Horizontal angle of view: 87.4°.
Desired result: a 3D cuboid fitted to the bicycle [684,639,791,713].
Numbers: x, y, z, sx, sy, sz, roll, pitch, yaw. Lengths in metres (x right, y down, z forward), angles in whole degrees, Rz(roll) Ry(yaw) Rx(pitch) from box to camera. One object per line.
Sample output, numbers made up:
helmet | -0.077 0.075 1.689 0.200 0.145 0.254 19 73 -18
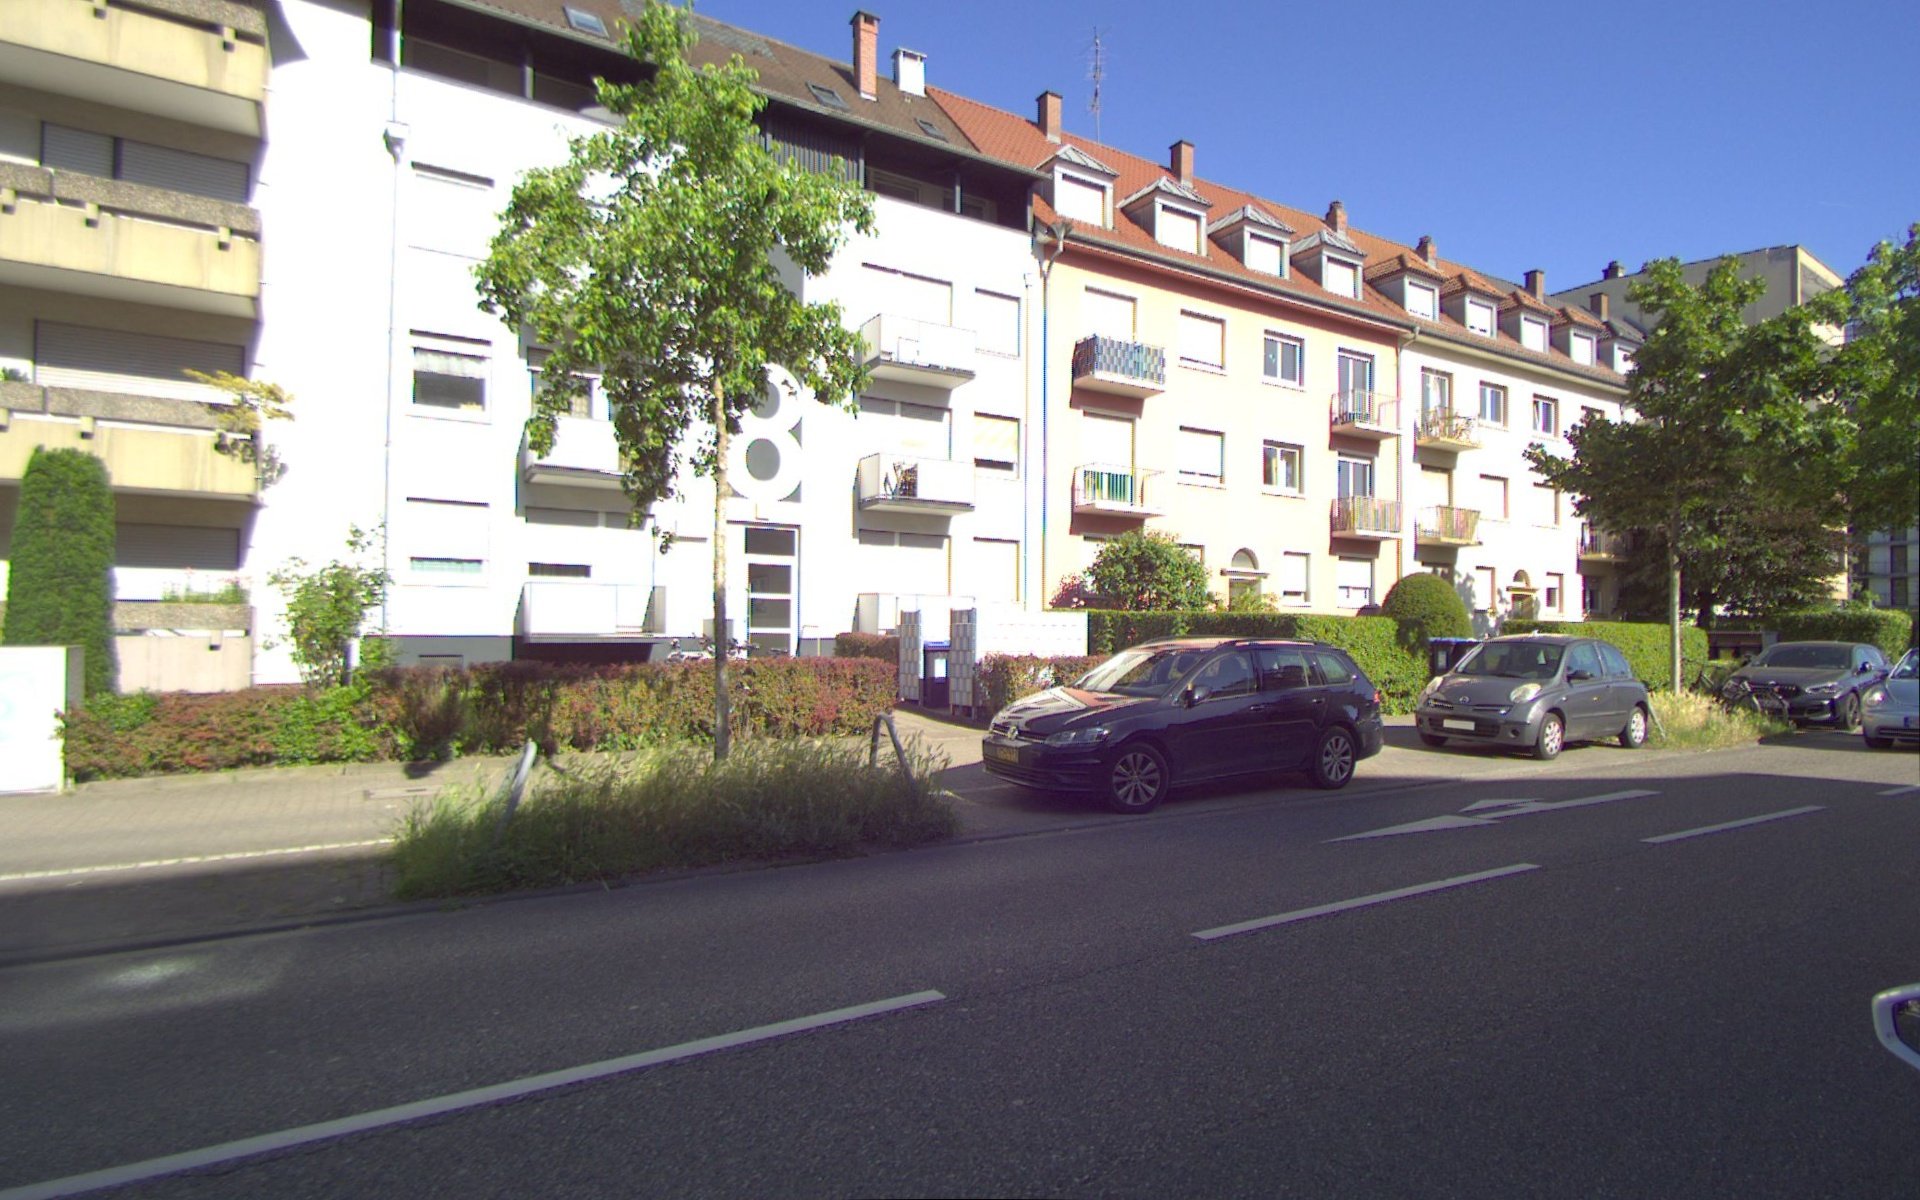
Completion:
bicycle | -3.344 1.127 15.146 1.531 1.067 0.418 1 -2 -31

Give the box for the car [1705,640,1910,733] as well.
car | 15.229 1.455 17.985 4.322 1.427 1.756 1 -1 -35

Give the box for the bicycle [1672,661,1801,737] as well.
bicycle | 12.568 1.578 16.298 0.542 1.149 1.535 1 -3 -31

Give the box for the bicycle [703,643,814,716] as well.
bicycle | -2.899 1.124 14.493 1.531 0.995 0.397 1 -2 -31

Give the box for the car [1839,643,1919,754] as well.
car | 14.094 1.306 13.987 3.893 1.399 1.728 1 -3 -32

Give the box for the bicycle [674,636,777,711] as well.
bicycle | -3.695 1.146 15.852 1.531 1.126 0.446 1 -2 -31

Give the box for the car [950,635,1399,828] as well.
car | 2.242 1.126 10.037 4.444 1.513 1.776 1 -2 -33

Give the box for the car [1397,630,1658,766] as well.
car | 7.722 1.207 13.595 3.621 1.546 1.664 1 0 -35

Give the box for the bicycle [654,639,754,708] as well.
bicycle | -4.191 1.185 16.479 1.531 1.077 0.446 1 -2 -31
